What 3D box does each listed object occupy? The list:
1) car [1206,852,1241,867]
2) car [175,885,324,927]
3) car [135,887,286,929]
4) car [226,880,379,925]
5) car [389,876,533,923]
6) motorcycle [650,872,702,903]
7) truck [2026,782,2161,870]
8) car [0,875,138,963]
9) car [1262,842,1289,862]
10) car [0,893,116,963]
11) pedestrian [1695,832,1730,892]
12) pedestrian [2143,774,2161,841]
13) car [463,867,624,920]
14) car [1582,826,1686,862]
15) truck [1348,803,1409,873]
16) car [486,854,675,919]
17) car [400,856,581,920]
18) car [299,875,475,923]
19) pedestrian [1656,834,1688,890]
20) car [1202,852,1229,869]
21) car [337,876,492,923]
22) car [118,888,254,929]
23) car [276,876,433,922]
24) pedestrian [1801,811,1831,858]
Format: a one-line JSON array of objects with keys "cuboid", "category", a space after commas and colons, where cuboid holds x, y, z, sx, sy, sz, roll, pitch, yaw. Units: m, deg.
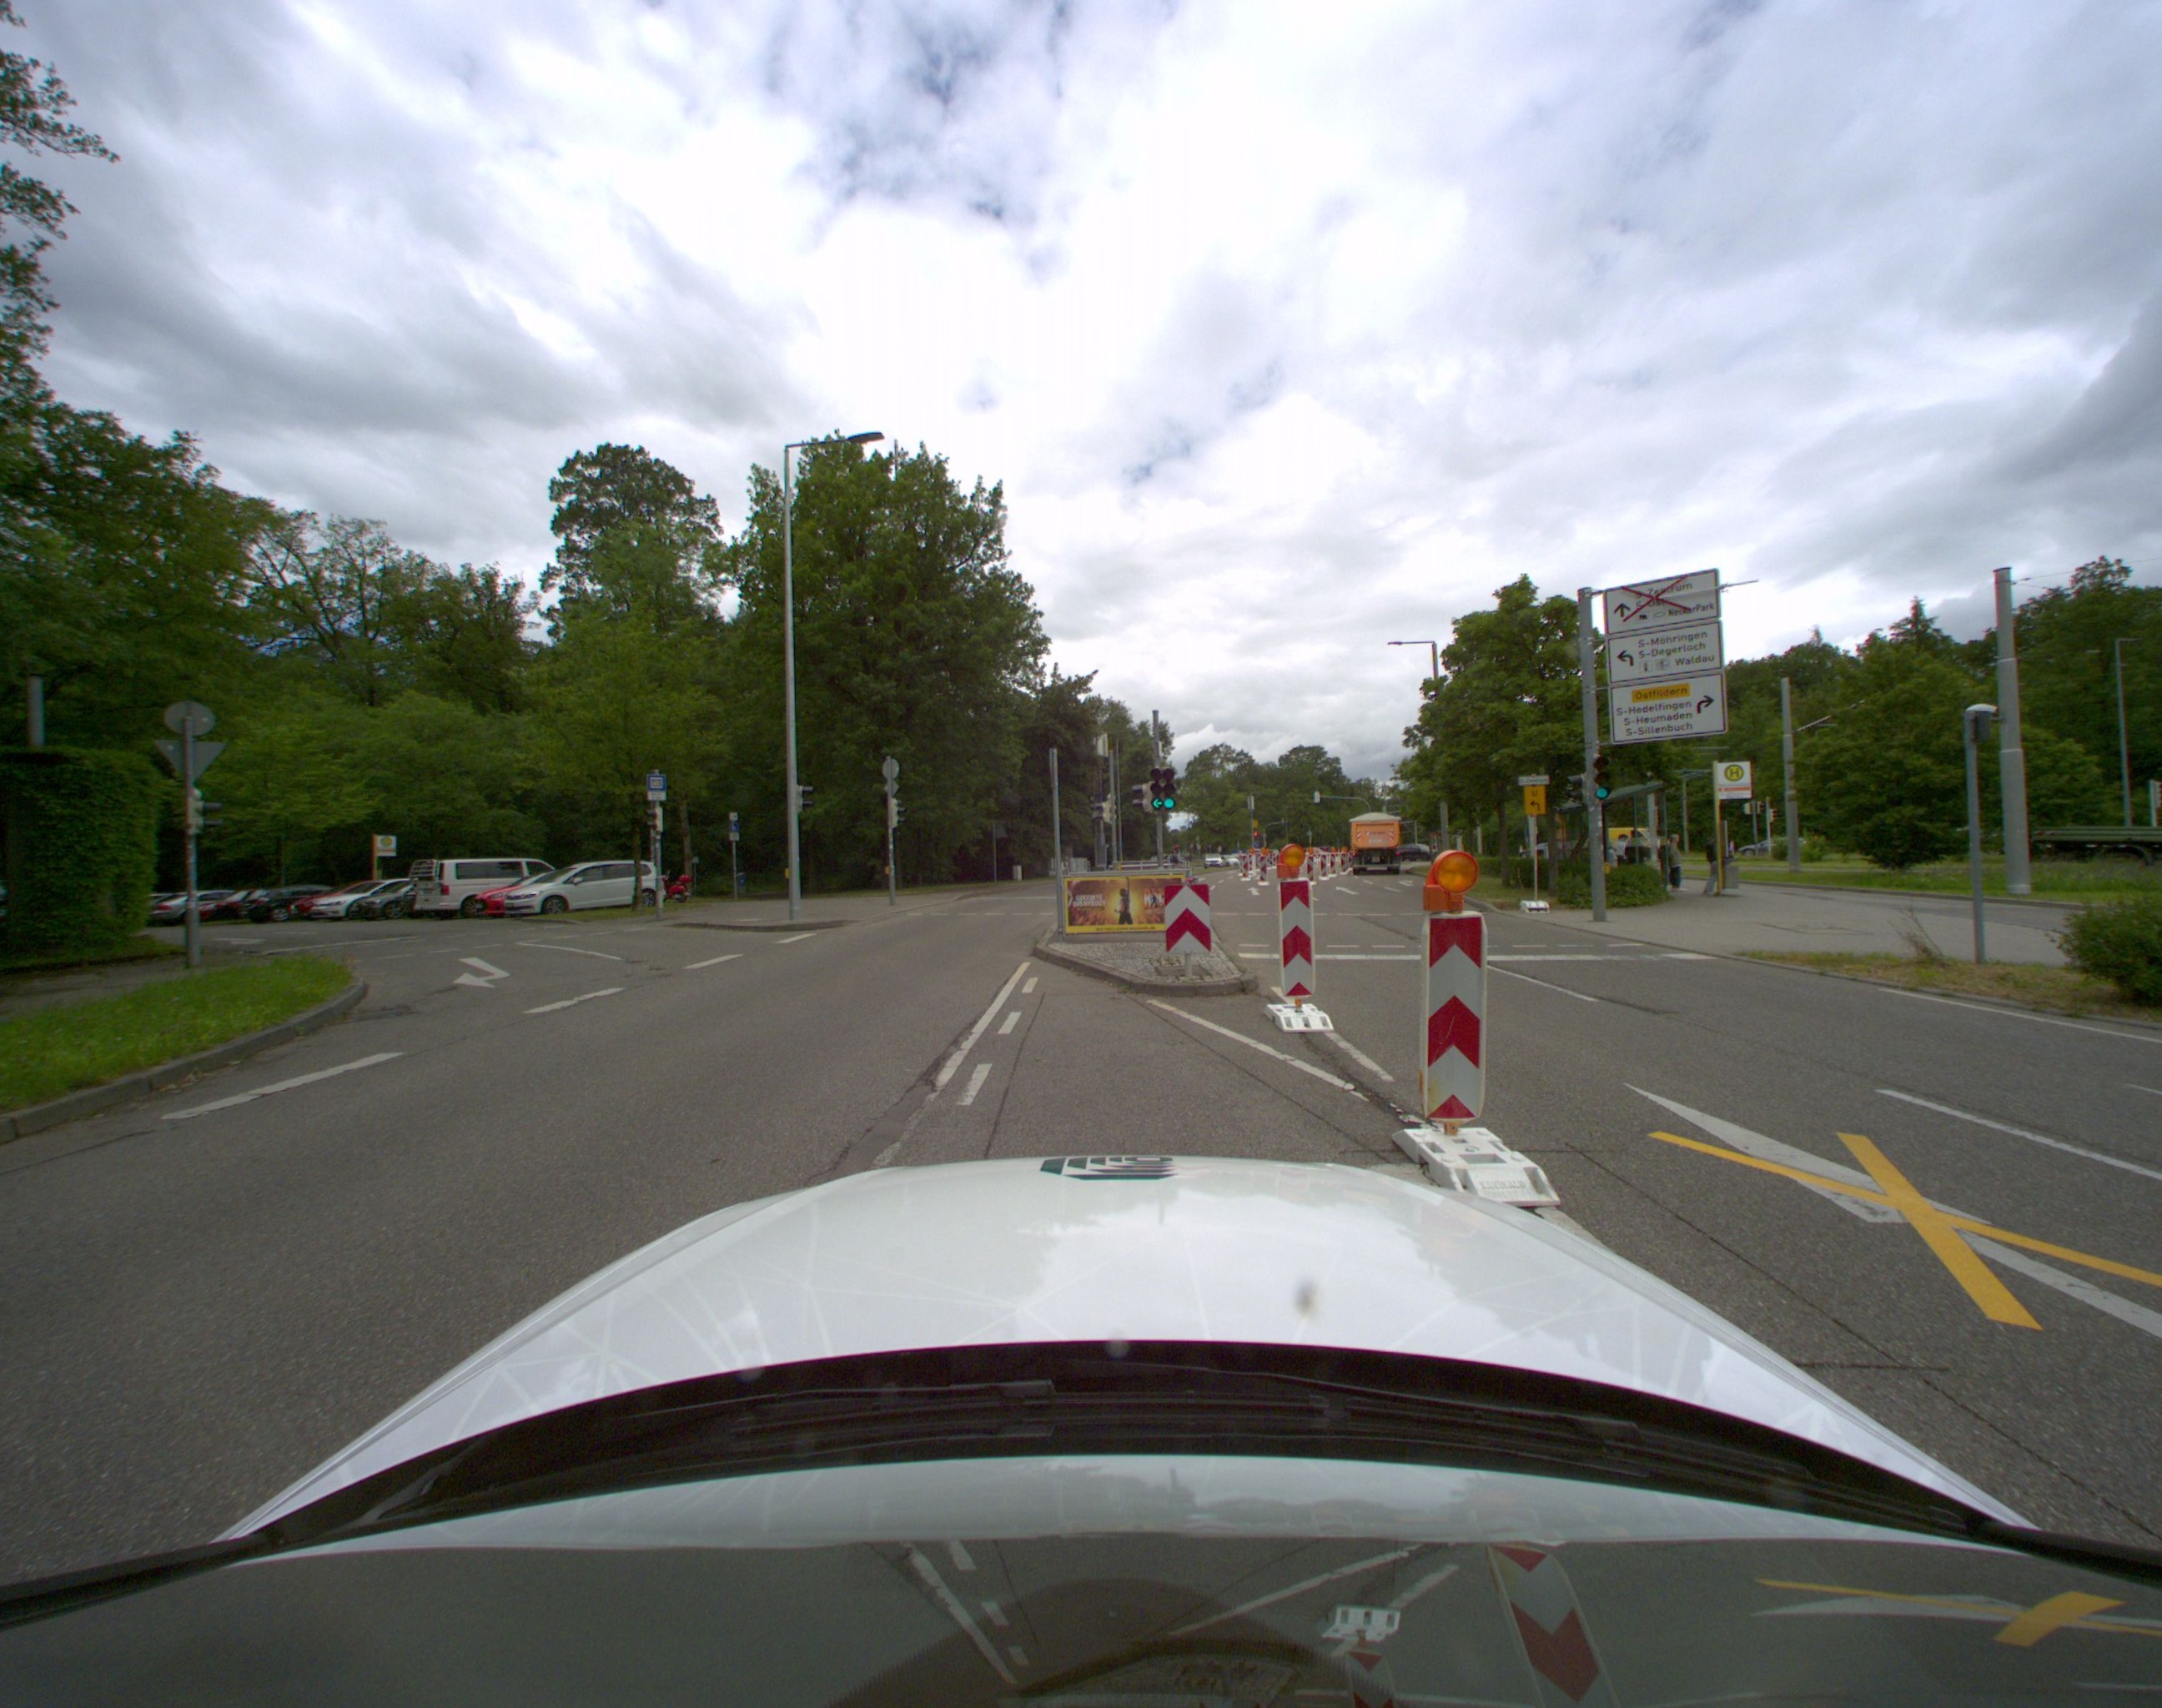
[{"cuboid": [17.925, 0.692, 102.730, 2.010, 1.882, 3.953, 0, -1, -41], "category": "car"}, {"cuboid": [-36.153, 2.232, 35.548, 1.918, 1.449, 4.020, -3, 0, 20], "category": "car"}, {"cuboid": [-38.681, 2.374, 36.321, 1.843, 1.461, 4.163, -4, 0, 22], "category": "car"}, {"cuboid": [-31.693, 1.945, 33.293, 1.898, 1.483, 4.023, -3, 0, 24], "category": "car"}, {"cuboid": [-22.524, 1.601, 29.758, 1.823, 1.555, 3.756, -1, -1, 26], "category": "car"}, {"cuboid": [-16.371, 1.355, 32.898, 1.988, 1.160, 0.680, -2, 0, 21], "category": "motorcycle"}, {"cuboid": [30.166, -0.762, 21.436, 2.407, 2.352, 6.499, 0, -1, -20], "category": "truck"}, {"cuboid": [-26.078, 1.619, 18.878, 1.953, 1.915, 5.134, -3, 1, 28], "category": "car"}, {"cuboid": [17.493, -0.191, 73.151, 1.780, 1.738, 3.723, -1, -1, 23], "category": "car"}, {"cuboid": [-23.779, 1.655, 17.236, 1.700, 1.379, 4.025, -3, 0, 28], "category": "car"}, {"cuboid": [16.300, 0.206, 21.032, 0.520, 1.516, 0.479, 0, -1, -2], "category": "pedestrian"}, {"cuboid": [49.727, -2.107, 37.214, 1.024, 3.044, 1.109, 0, -1, -13], "category": "pedestrian"}, {"cuboid": [-17.836, 1.264, 27.183, 1.921, 1.555, 4.036, -2, -1, 34], "category": "car"}, {"cuboid": [40.841, -0.705, 60.317, 2.006, 2.494, 6.089, 0, -1, -30], "category": "car"}, {"cuboid": [17.044, -0.912, 46.319, 2.834, 3.514, 8.293, -2, 0, 22], "category": "truck"}, {"cuboid": [-15.762, 0.974, 25.892, 2.137, 1.693, 4.564, -4, 0, 33], "category": "car"}, {"cuboid": [-20.395, 1.112, 28.379, 2.057, 2.021, 4.691, -1, -1, 27], "category": "car"}, {"cuboid": [-26.755, 1.681, 31.615, 1.829, 1.476, 4.817, -2, 0, 27], "category": "car"}, {"cuboid": [16.436, 0.219, 22.650, 0.520, 1.516, 0.479, 0, -1, -2], "category": "pedestrian"}, {"cuboid": [14.451, 0.706, 87.166, 1.977, 1.750, 4.601, -1, -1, 20], "category": "car"}, {"cuboid": [-24.745, 1.653, 30.409, 1.854, 1.483, 4.023, -4, -2, 26], "category": "car"}, {"cuboid": [-40.842, 2.460, 37.257, 1.731, 1.510, 3.733, -4, 0, 20], "category": "car"}, {"cuboid": [-29.133, 1.781, 32.821, 1.896, 1.480, 4.267, -4, 0, 24], "category": "car"}, {"cuboid": [36.387, -0.966, 40.315, 0.616, 2.295, 0.858, 0, -1, -13], "category": "pedestrian"}]
